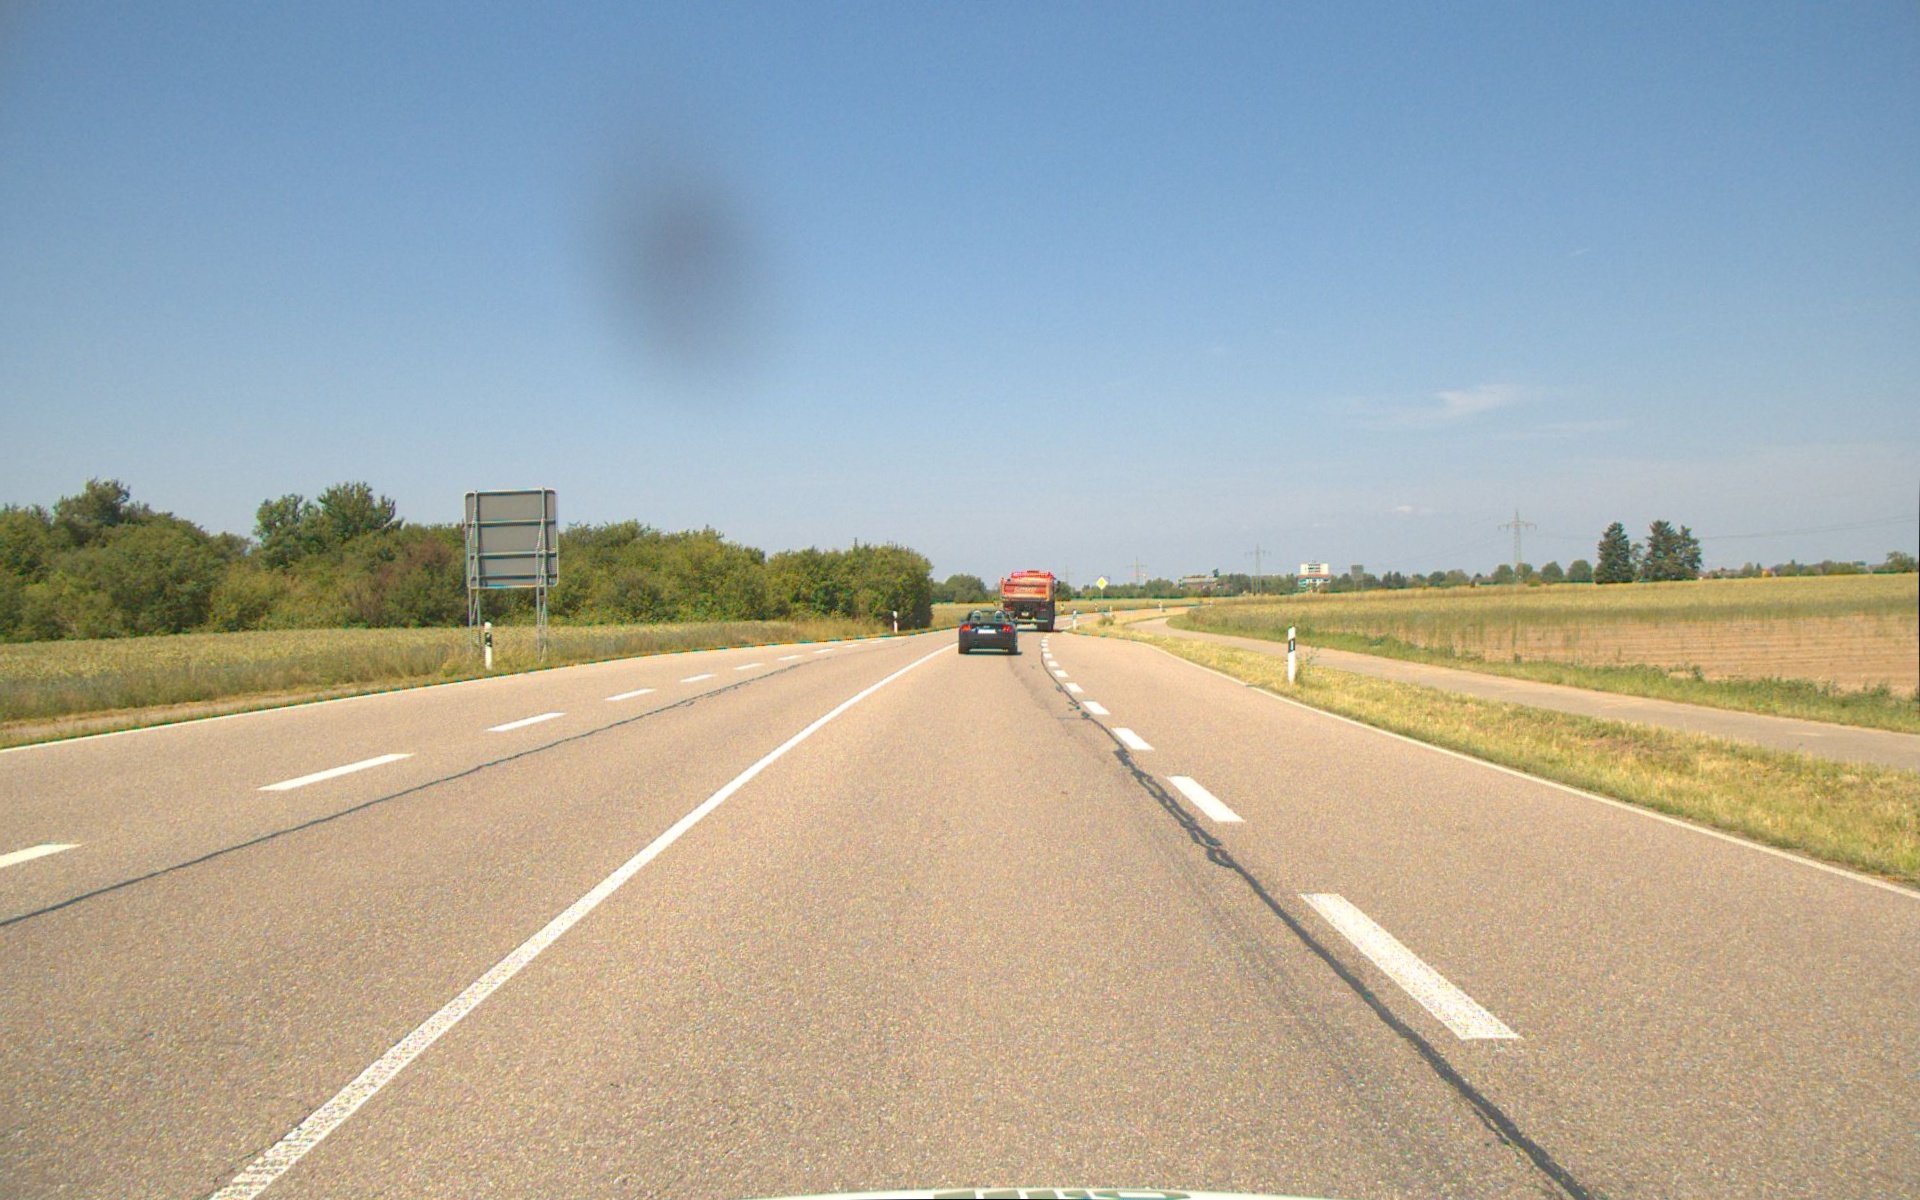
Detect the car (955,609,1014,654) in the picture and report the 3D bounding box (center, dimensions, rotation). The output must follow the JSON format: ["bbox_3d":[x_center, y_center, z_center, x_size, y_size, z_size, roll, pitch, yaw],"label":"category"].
[{"bbox_3d":[0.756,0.921,50.095,1.708,1.302,4.000,0,0,1],"label":"car"}]

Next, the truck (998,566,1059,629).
[{"bbox_3d":[3.508,-0.110,86.556,2.878,3.143,7.195,0,0,0],"label":"truck"}]
